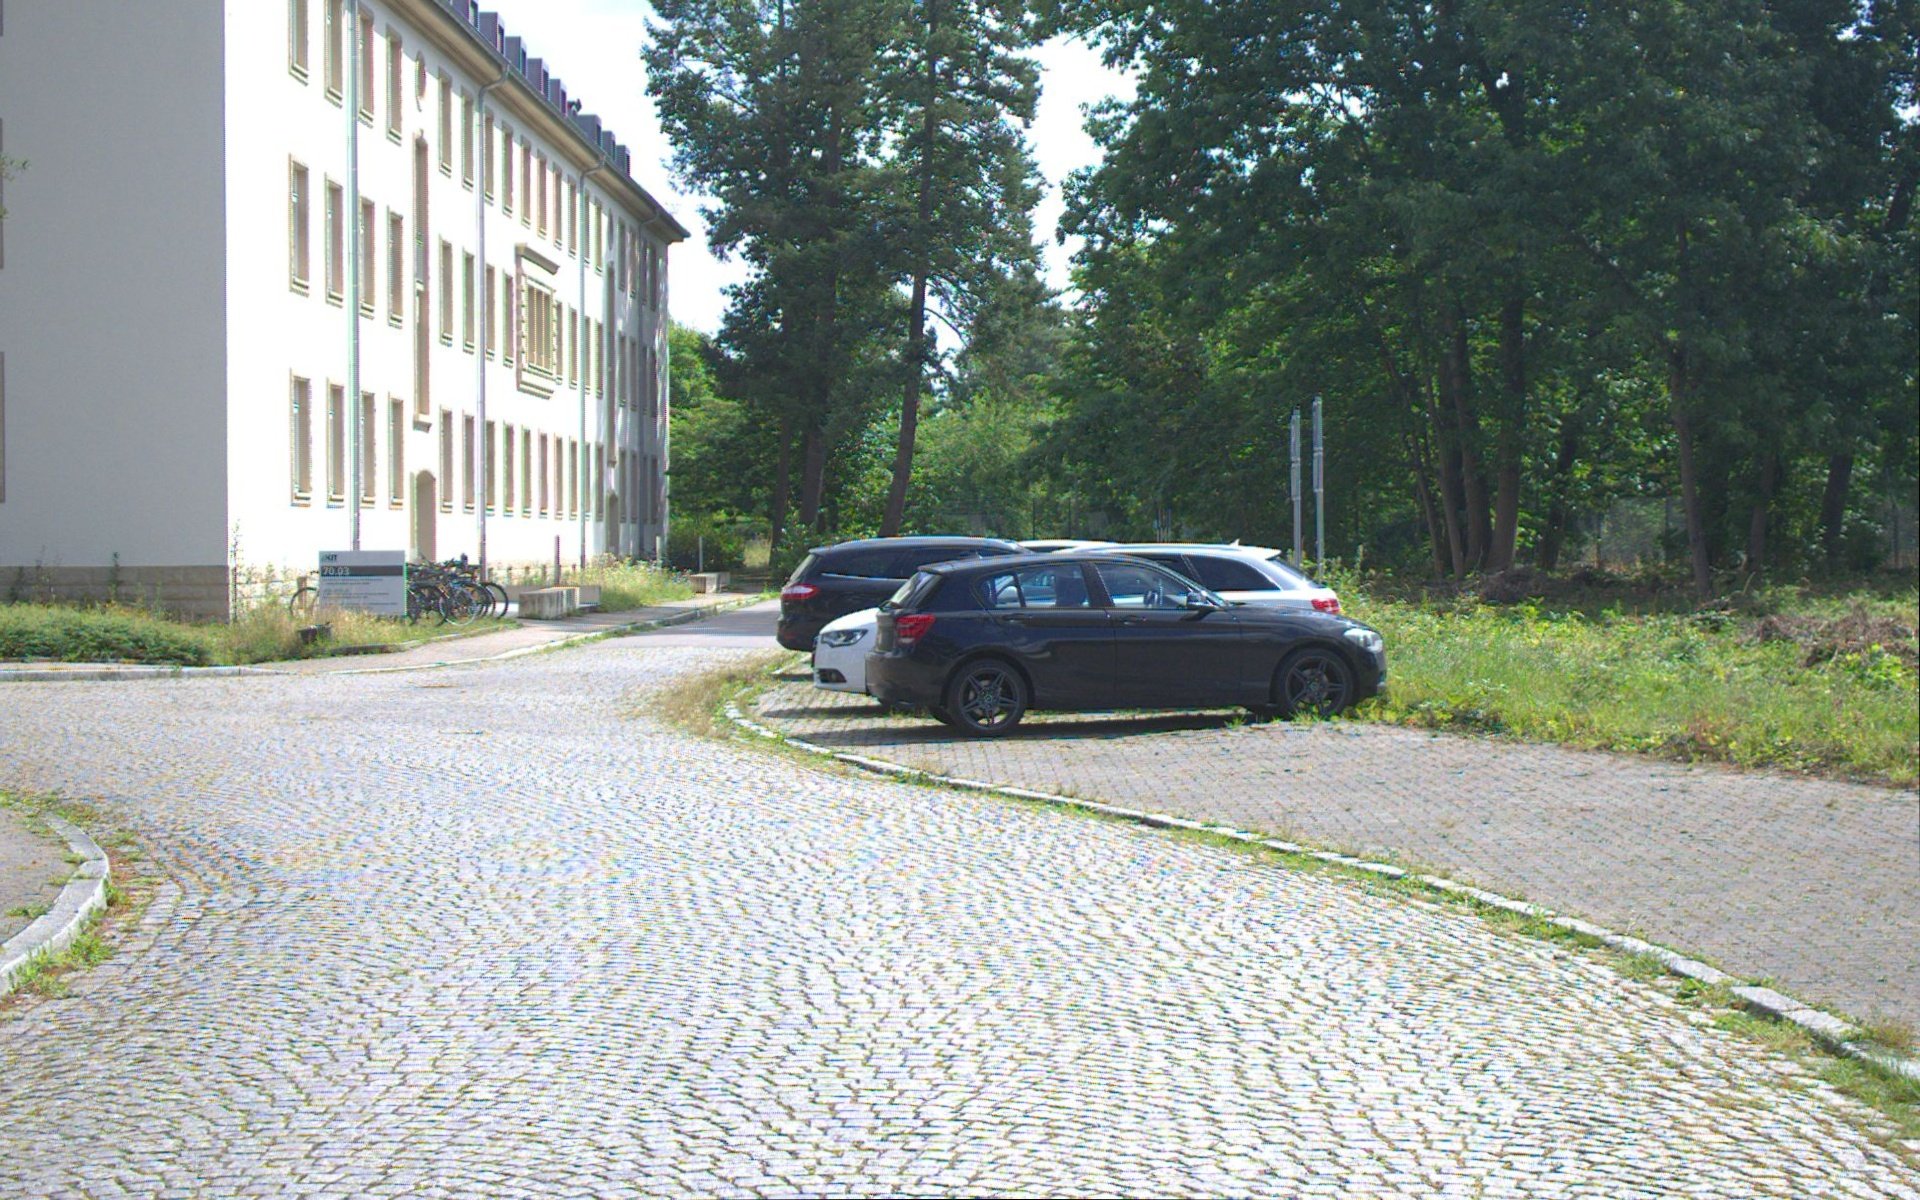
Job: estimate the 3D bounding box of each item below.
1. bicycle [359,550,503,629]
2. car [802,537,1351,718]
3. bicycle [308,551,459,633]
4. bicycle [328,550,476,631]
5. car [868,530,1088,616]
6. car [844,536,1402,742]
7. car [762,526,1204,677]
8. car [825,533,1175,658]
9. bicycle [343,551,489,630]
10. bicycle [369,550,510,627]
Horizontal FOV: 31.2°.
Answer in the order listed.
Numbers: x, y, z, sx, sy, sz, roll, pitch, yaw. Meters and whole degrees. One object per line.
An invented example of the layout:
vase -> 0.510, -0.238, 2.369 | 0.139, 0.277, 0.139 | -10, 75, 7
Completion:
bicycle -> -8.624, -0.175, 56.072 | 2.222, 1.256, 0.623 | 0, 1, 3
car -> 1.030, 0.230, 31.555 | 4.862, 1.467, 1.875 | -1, 2, -1
bicycle -> -8.950, -0.127, 53.431 | 2.222, 1.256, 0.623 | 0, 1, 7
bicycle -> -8.809, -0.146, 54.282 | 2.222, 1.256, 0.623 | 0, 1, 3
car -> 0.378, -0.528, 67.043 | 4.187, 1.538, 1.820 | -1, 0, 3
car -> 1.299, 0.287, 28.400 | 4.323, 1.495, 1.830 | -2, 2, -7
car -> 0.245, 0.007, 38.915 | 4.852, 1.547, 1.880 | -1, 0, -1
car -> 0.494, -0.066, 44.429 | 4.398, 1.479, 1.766 | -1, 0, -1
bicycle -> -8.725, -0.156, 55.168 | 2.222, 1.256, 0.623 | 0, 1, 7
bicycle -> -8.634, -0.191, 57.081 | 2.222, 1.256, 0.623 | 0, 1, 3
